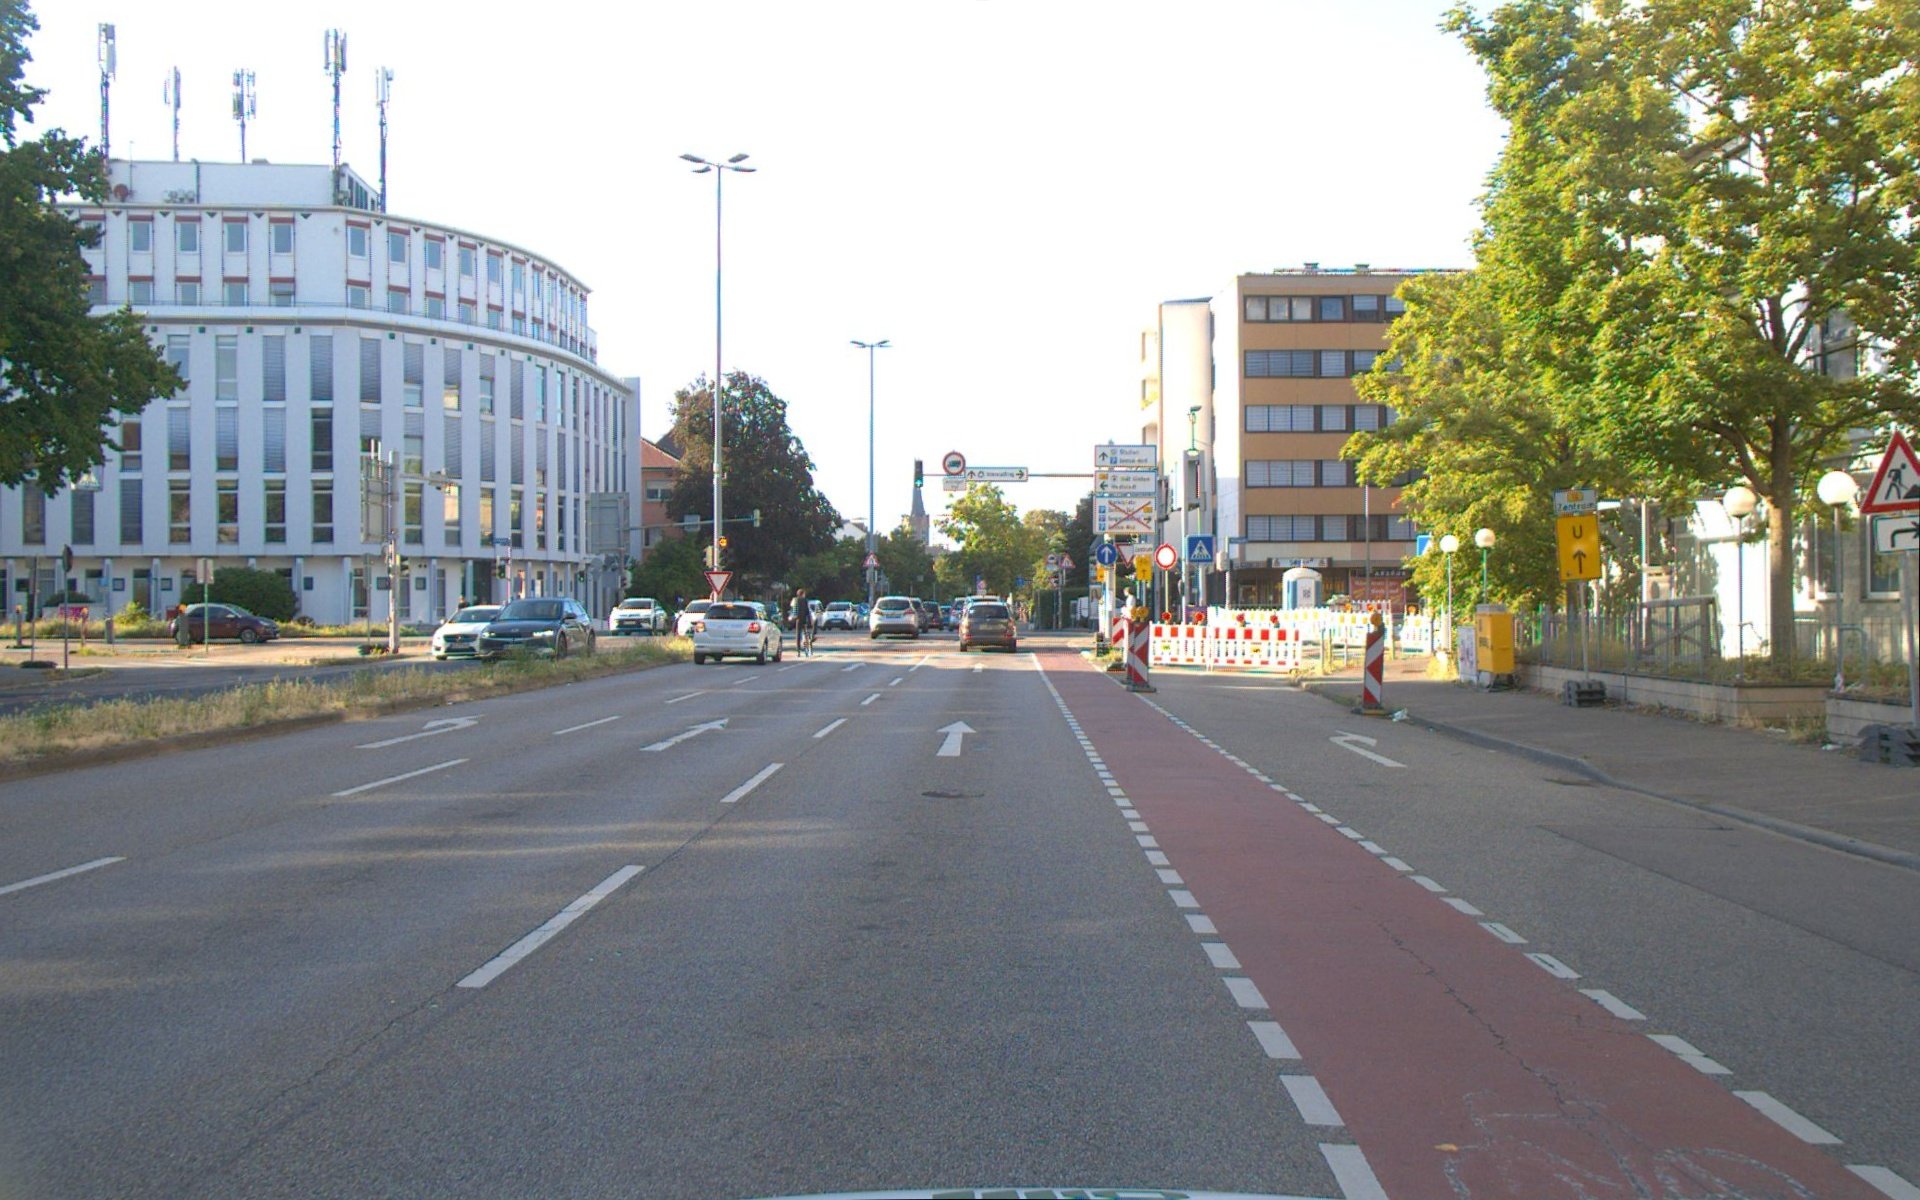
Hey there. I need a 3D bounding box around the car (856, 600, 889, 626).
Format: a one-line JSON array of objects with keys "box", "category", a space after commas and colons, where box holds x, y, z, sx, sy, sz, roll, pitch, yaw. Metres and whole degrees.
[{"box": [-5.087, 0.755, 96.528, 1.810, 1.487, 4.048, -1, 0, -2], "category": "car"}]

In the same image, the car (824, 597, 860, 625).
[{"box": [-6.445, 0.580, 90.730, 1.810, 1.487, 4.048, -1, 0, -2], "category": "car"}]

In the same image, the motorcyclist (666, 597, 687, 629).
[{"box": [-13.218, 0.609, 77.206, 0.754, 1.444, 1.238, 0, 0, -1], "category": "motorcyclist"}]

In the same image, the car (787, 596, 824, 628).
[{"box": [-9.314, 0.701, 99.813, 1.876, 1.843, 4.716, -1, 0, -2], "category": "car"}]

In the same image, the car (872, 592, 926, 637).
[{"box": [-2.213, 0.531, 61.080, 1.712, 1.591, 4.050, -1, 0, 2], "category": "car"}]

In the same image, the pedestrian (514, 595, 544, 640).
[{"box": [-18.530, 0.761, 71.131, 0.614, 1.901, 1.126, -1, -1, 27], "category": "pedestrian"}]

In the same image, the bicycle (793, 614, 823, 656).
[{"box": [-4.181, 0.957, 45.638, 0.685, 1.119, 2.257, -1, 0, -2], "category": "bicycle"}]

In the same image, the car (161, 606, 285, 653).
[{"box": [-27.221, 1.104, 61.159, 3.732, 1.557, 1.862, -2, -2, -2], "category": "car"}]

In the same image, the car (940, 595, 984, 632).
[{"box": [0.103, 0.666, 76.681, 1.953, 1.534, 3.999, -2, -2, 0], "category": "car"}]

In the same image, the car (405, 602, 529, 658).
[{"box": [-13.578, 0.794, 45.818, 1.952, 1.438, 4.444, -1, 0, 2], "category": "car"}]

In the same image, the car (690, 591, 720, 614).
[{"box": [-17.935, 0.205, 116.492, 1.805, 1.599, 3.995, -1, 0, -6], "category": "car"}]

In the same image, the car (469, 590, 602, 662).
[{"box": [-10.208, 0.600, 40.159, 1.952, 1.606, 4.899, 0, 0, 0], "category": "car"}]

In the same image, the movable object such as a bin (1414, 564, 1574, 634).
[{"box": [20.229, -0.040, 62.858, 5.241, 2.534, 2.548, -1, 0, -2], "category": "movable object such as a bin"}]

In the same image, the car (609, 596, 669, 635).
[{"box": [-13.304, 0.621, 68.833, 1.650, 1.525, 4.513, -1, 0, -1], "category": "car"}]

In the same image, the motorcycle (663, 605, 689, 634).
[{"box": [-13.229, 0.907, 77.131, 0.754, 1.307, 2.842, 0, 0, -1], "category": "motorcycle"}]

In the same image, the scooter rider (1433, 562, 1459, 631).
[{"box": [12.913, -0.099, 43.914, 0.602, 1.821, 0.486, -1, -1, 23], "category": "scooter rider"}]

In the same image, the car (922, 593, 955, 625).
[{"box": [-1.140, 0.478, 89.303, 1.630, 1.686, 4.001, -1, 0, 2], "category": "car"}]

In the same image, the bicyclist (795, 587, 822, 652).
[{"box": [-4.193, 0.534, 45.721, 0.677, 1.758, 0.987, -1, 0, -2], "category": "bicyclist"}]

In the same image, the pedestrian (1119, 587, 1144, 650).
[{"box": [5.070, 0.546, 48.831, 0.725, 1.831, 0.716, -1, -1, 6], "category": "pedestrian"}]

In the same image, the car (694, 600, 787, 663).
[{"box": [-5.336, 0.738, 40.686, 1.650, 1.482, 4.001, 0, 0, 1], "category": "car"}]

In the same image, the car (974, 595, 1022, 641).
[{"box": [1.432, 0.680, 63.837, 1.782, 1.668, 4.000, -1, 0, 0], "category": "car"}]

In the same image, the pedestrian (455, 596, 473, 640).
[{"box": [-21.383, 0.764, 71.292, 0.648, 1.891, 0.776, 0, -1, -12], "category": "pedestrian"}]

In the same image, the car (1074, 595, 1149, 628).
[{"box": [8.989, 0.661, 98.521, 4.274, 1.910, 2.000, -1, 0, -1], "category": "car"}]

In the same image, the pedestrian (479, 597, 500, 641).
[{"box": [-20.393, 0.831, 71.684, 0.744, 1.874, 0.817, 0, -1, -9], "category": "pedestrian"}]

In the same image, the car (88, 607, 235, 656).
[{"box": [-28.150, 1.096, 58.395, 4.253, 1.657, 2.001, -1, 0, 5], "category": "car"}]

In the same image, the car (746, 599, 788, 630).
[{"box": [-9.562, 0.698, 81.996, 1.624, 1.521, 4.000, 0, 0, 0], "category": "car"}]

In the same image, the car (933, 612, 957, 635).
[{"box": [-1.116, 1.751, 123.232, 1.630, 1.686, 4.001, -1, 0, 2], "category": "car"}]

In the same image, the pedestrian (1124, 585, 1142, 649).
[{"box": [5.188, 0.503, 49.536, 0.509, 1.901, 0.615, -1, -1, 7], "category": "pedestrian"}]

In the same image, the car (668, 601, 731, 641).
[{"box": [-9.713, 0.771, 61.953, 1.650, 1.417, 4.181, -1, 0, 1], "category": "car"}]

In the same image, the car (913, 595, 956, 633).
[{"box": [-1.089, 0.605, 72.096, 1.712, 1.591, 4.050, -1, 0, 2], "category": "car"}]

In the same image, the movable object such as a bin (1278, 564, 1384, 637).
[{"box": [12.619, 0.024, 56.389, 3.260, 2.425, 1.529, -1, 0, 0], "category": "movable object such as a bin"}]

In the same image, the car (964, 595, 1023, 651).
[{"box": [1.032, 0.671, 50.198, 1.712, 1.591, 4.050, -1, 0, 2], "category": "car"}]
